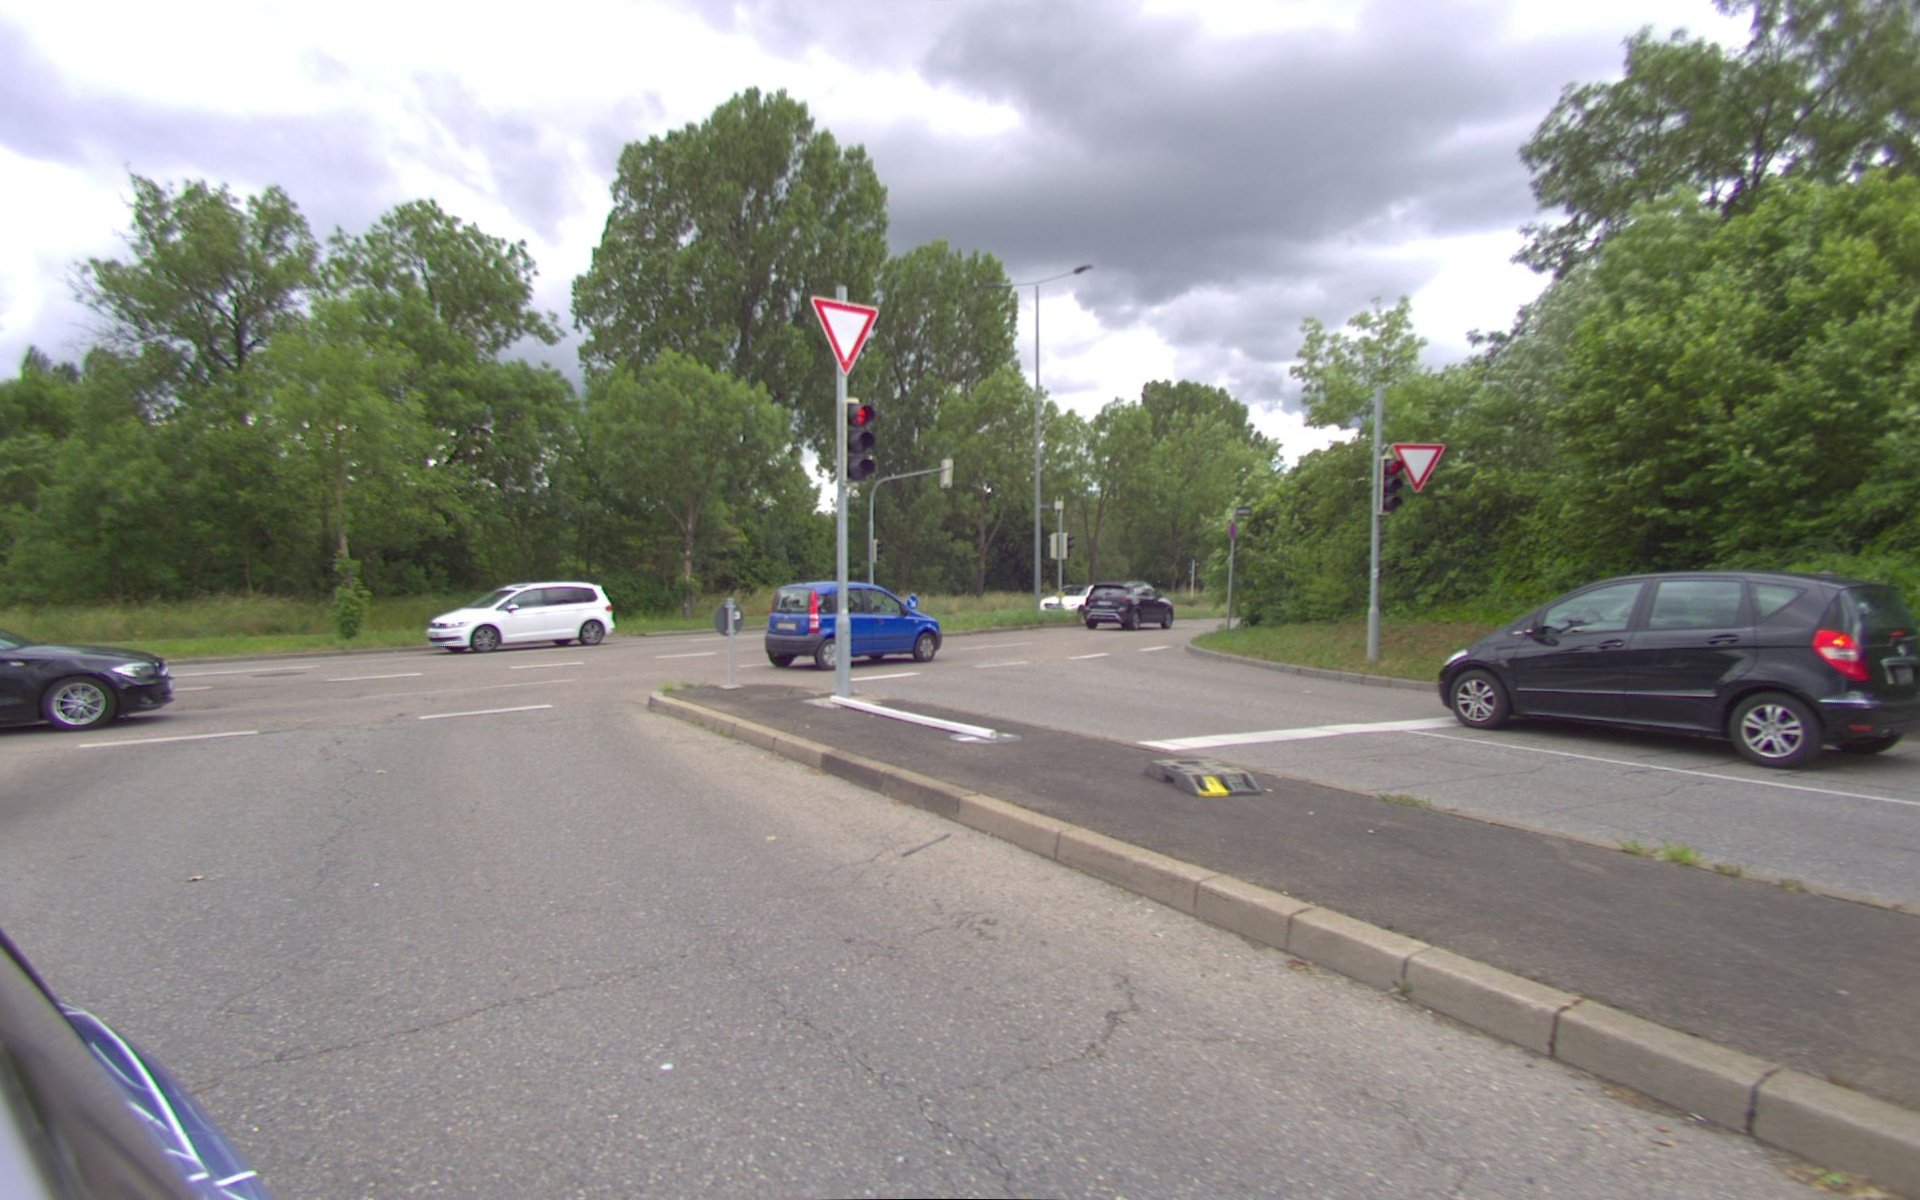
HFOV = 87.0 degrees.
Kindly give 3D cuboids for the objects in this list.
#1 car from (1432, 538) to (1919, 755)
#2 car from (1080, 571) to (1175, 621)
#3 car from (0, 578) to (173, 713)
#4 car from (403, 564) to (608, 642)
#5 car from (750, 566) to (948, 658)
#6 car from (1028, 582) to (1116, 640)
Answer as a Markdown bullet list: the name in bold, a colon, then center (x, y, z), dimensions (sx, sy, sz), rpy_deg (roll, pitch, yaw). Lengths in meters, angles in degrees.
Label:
- **car**: center (6.575, 0.339, 9.326), dimensions (1.615, 1.564, 3.801), rpy_deg (1, 0, -28)
- **car**: center (5.527, -0.160, 33.134), dimensions (1.657, 1.518, 3.727), rpy_deg (-1, 1, 34)
- **car**: center (-11.067, 0.509, 10.802), dimensions (4.014, 1.378, 1.573), rpy_deg (-2, 1, -31)
- **car**: center (-11.382, 0.013, 25.549), dimensions (2.081, 1.773, 4.265), rpy_deg (1, 2, 40)
- **car**: center (-1.957, 0.158, 18.427), dimensions (1.549, 1.518, 3.331), rpy_deg (0, 1, 45)
- **car**: center (4.747, 0.409, 42.425), dimensions (1.931, 2.009, 4.273), rpy_deg (2, 5, 34)
